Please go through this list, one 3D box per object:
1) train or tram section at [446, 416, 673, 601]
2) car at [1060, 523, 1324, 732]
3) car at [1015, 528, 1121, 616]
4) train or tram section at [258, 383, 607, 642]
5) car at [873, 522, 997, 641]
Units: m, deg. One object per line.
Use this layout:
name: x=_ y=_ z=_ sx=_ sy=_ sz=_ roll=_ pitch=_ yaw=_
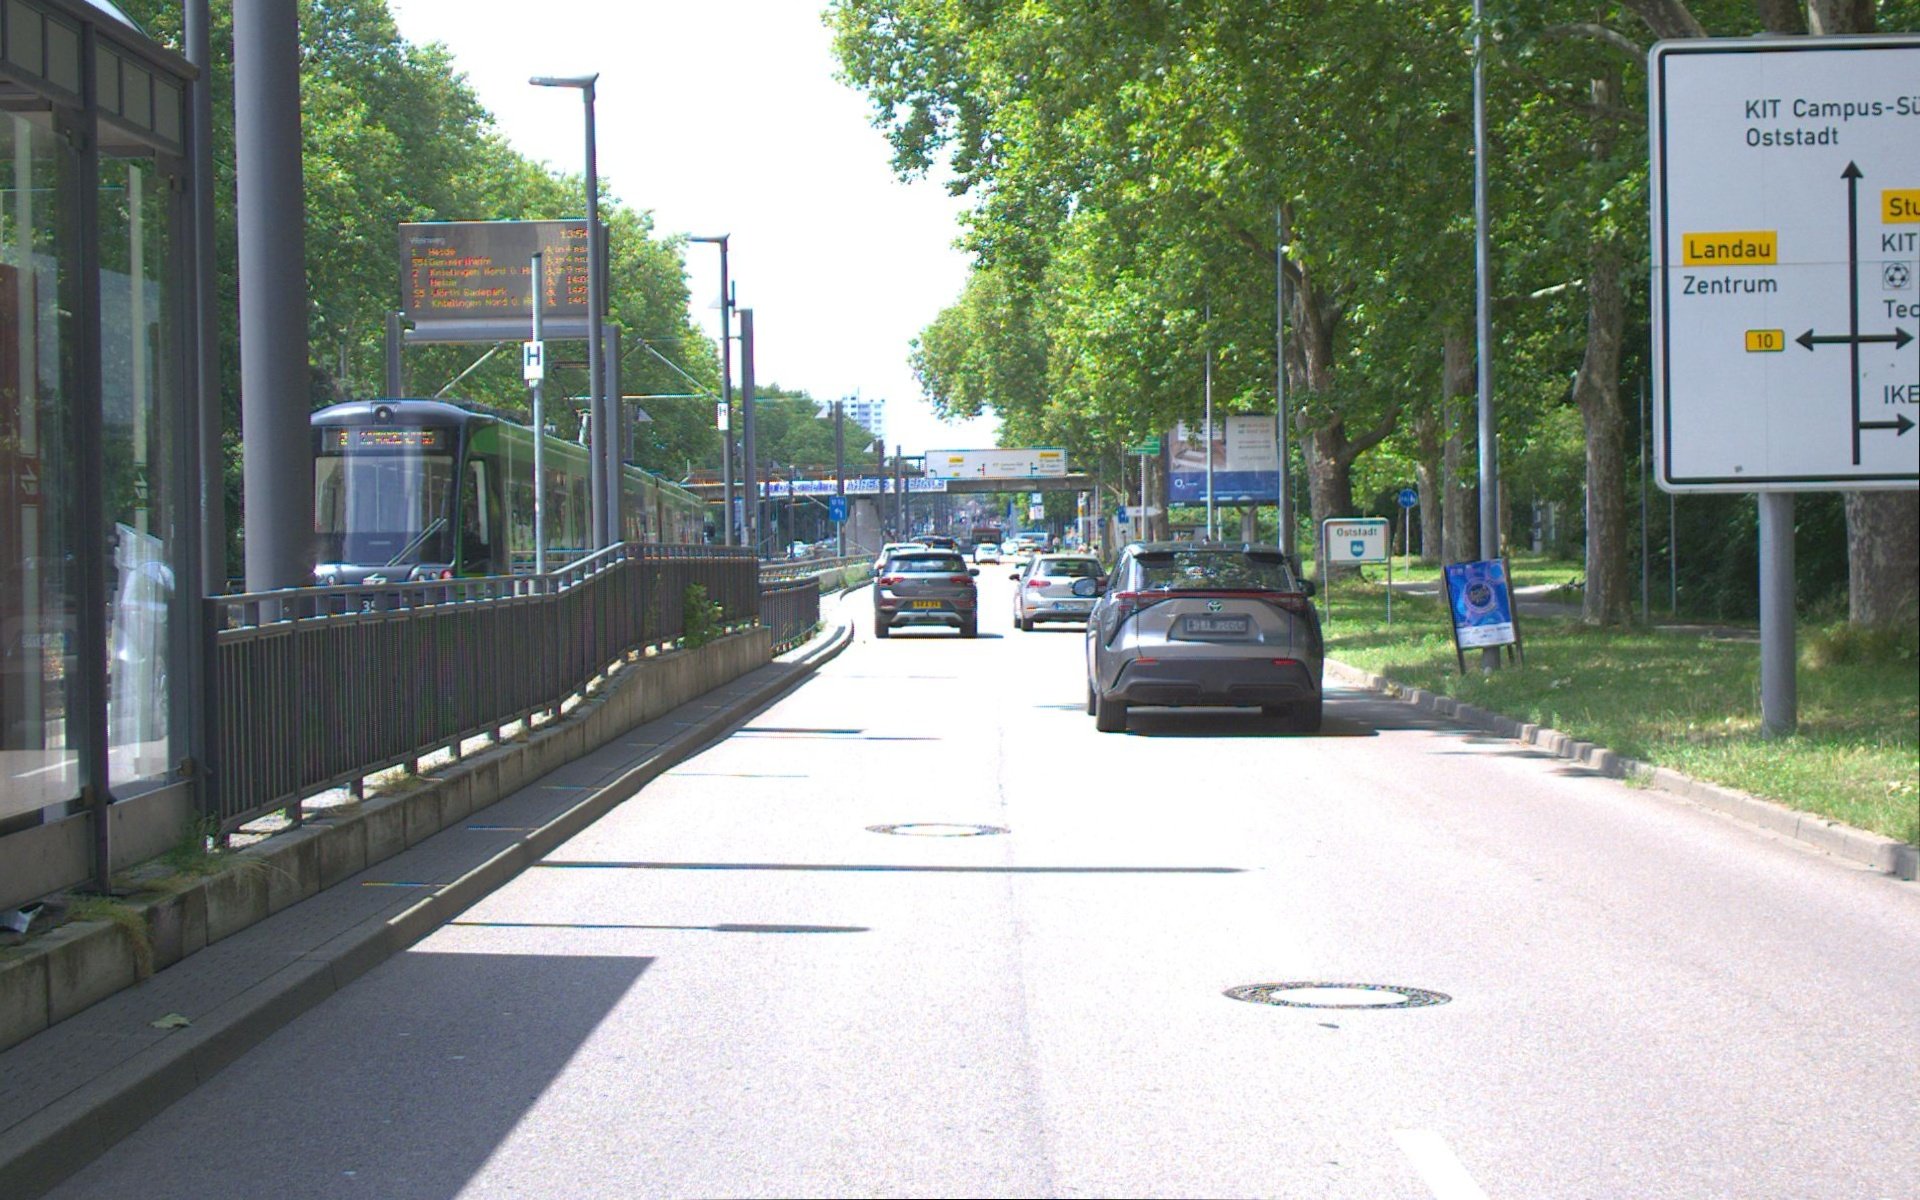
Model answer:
train or tram section: x=-7.310 y=-1.664 z=64.105 sx=3.037 sy=3.175 sz=9.447 roll=-1 pitch=1 yaw=0
car: x=1.922 y=0.202 z=29.757 sx=1.897 sy=1.669 sz=4.520 roll=0 pitch=0 yaw=-1
car: x=2.019 y=-0.543 z=65.342 sx=1.831 sy=1.624 sz=4.296 roll=0 pitch=1 yaw=-1
train or tram section: x=-7.245 y=-1.206 z=49.566 sx=3.037 sy=3.175 sz=14.102 roll=-1 pitch=1 yaw=-1
car: x=-0.398 y=-0.360 z=60.669 sx=1.993 sy=1.982 sz=4.363 roll=1 pitch=1 yaw=2
